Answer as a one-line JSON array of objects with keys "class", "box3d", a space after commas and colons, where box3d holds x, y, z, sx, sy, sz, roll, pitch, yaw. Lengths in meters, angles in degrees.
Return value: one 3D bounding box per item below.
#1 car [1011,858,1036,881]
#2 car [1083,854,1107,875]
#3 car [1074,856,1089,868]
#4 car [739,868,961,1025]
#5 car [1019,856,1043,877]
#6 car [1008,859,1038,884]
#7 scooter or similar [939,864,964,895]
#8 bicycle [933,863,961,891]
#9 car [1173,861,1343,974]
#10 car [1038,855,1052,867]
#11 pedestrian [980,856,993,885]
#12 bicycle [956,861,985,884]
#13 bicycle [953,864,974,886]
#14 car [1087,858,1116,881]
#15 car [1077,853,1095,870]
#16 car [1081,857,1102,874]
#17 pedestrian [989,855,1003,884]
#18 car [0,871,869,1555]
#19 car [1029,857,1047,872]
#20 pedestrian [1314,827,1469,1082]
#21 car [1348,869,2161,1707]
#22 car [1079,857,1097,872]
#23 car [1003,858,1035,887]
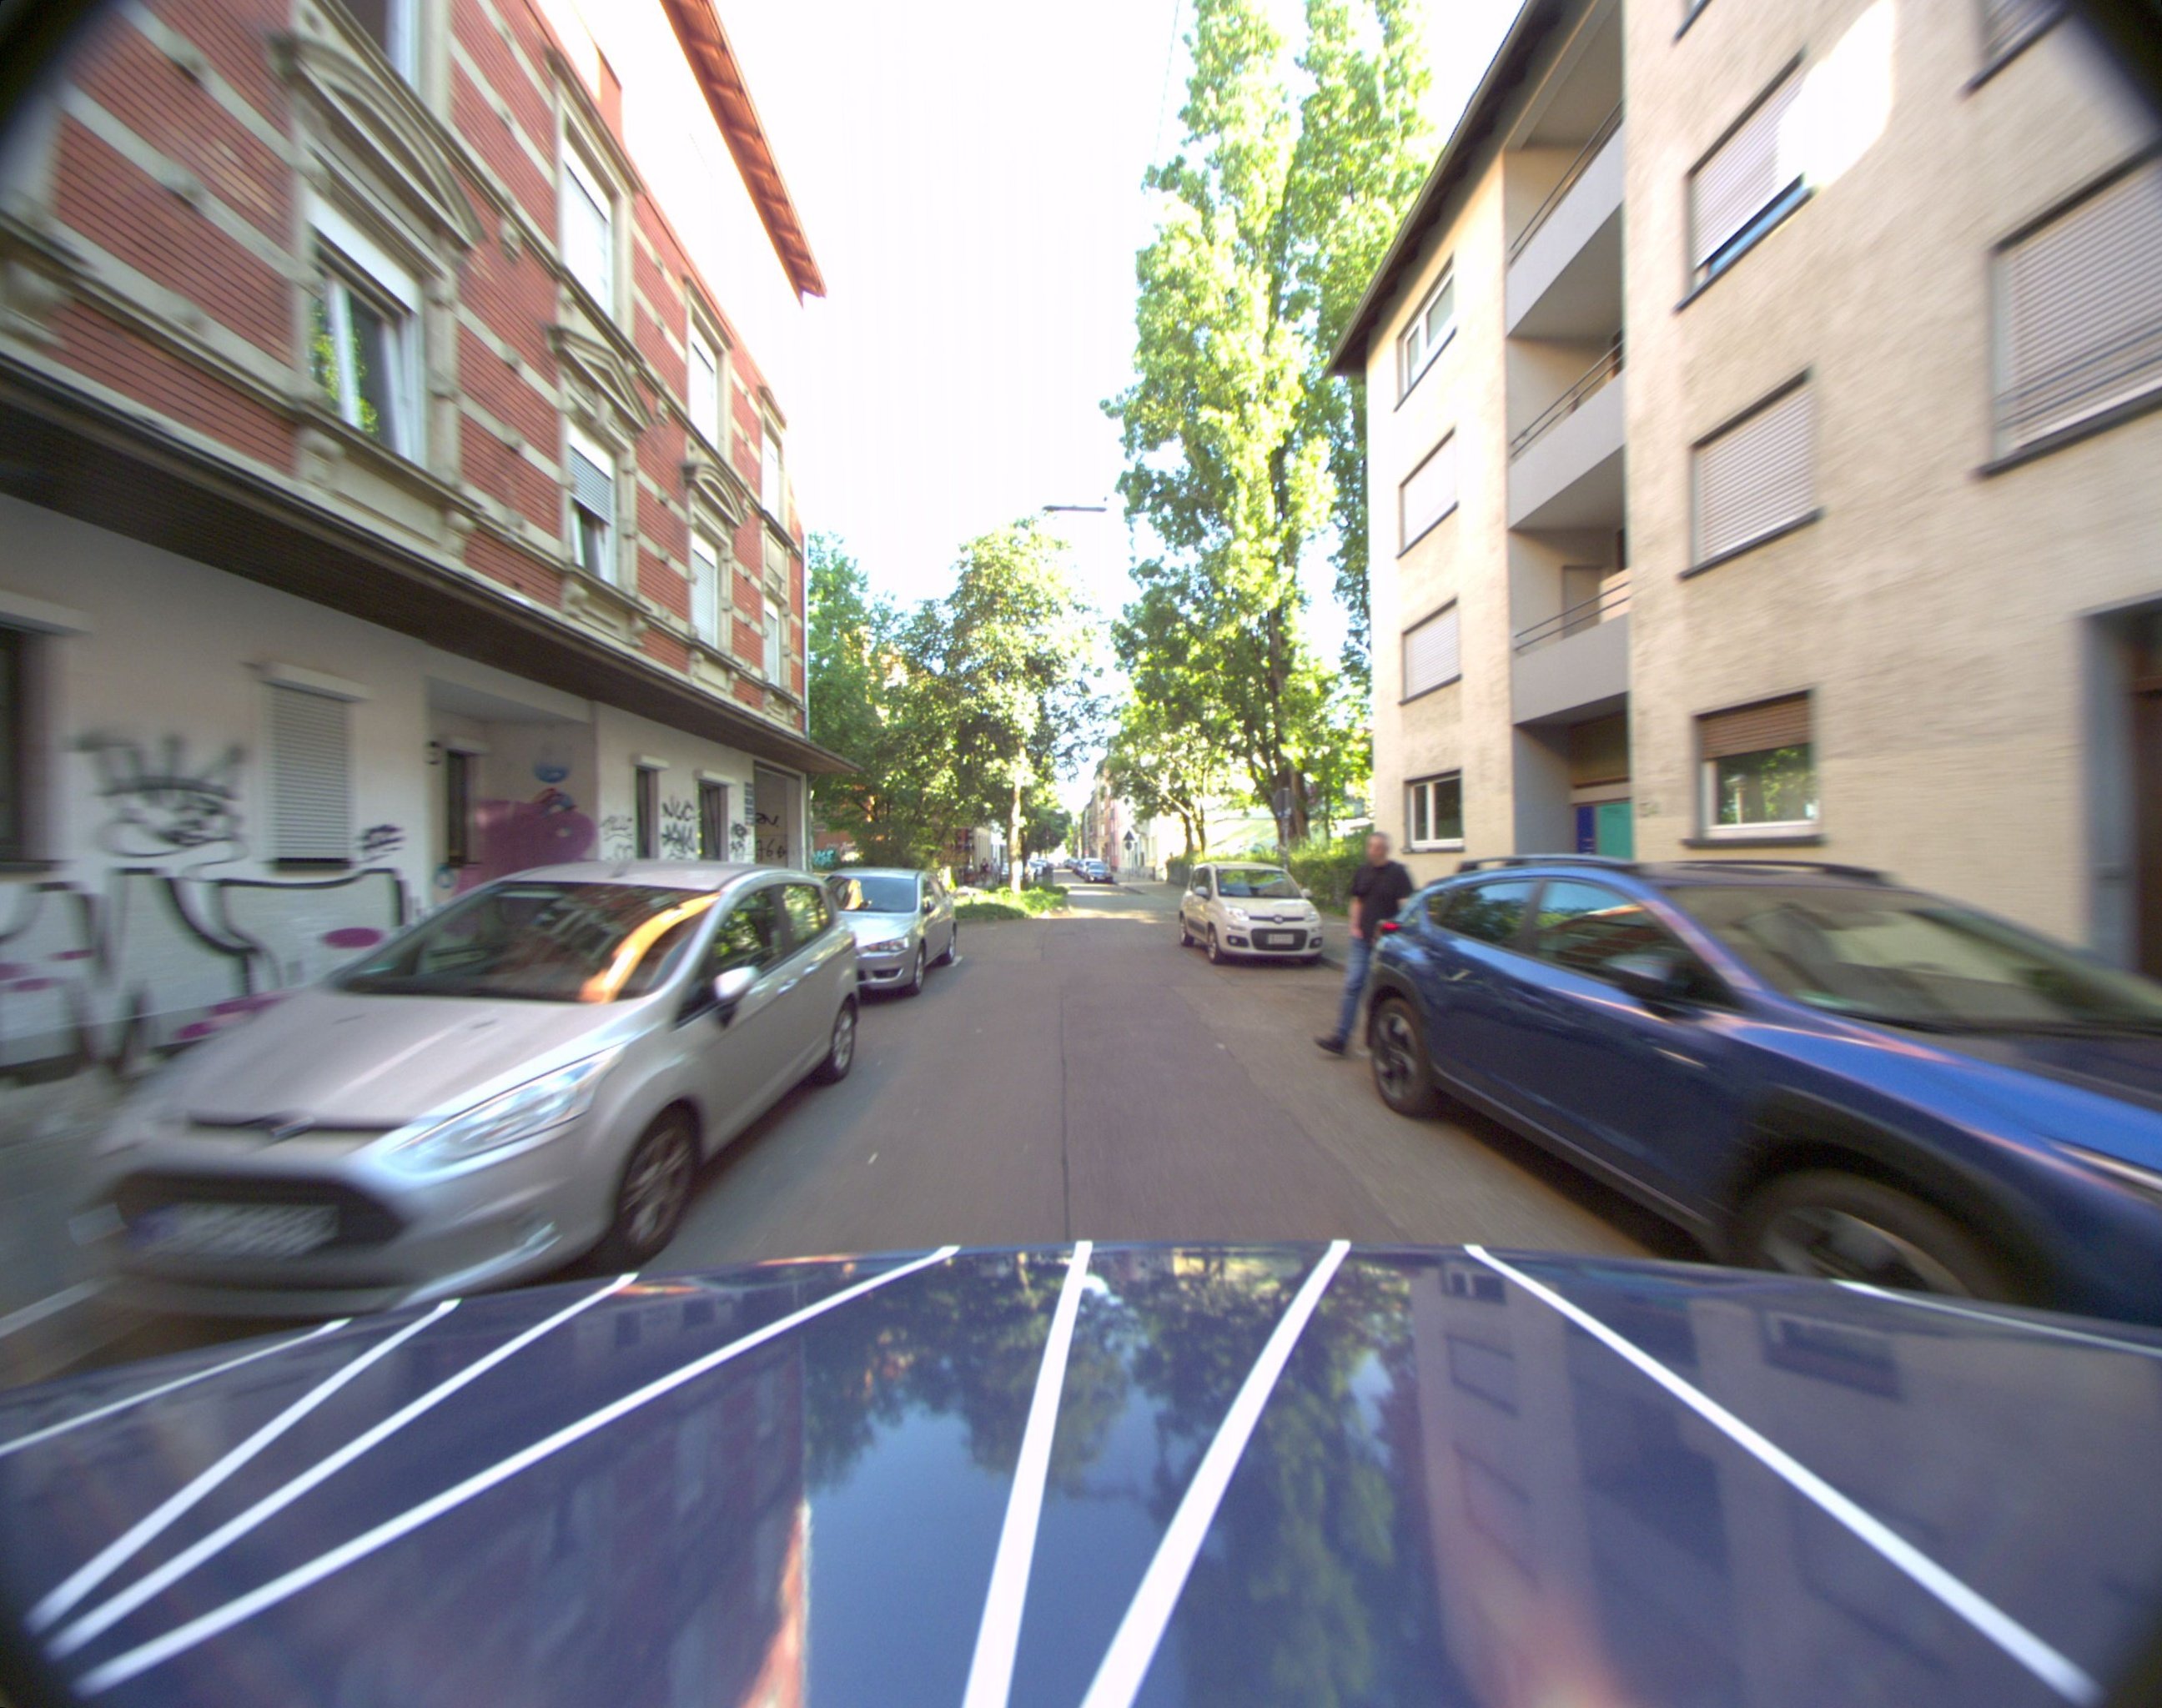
[{"class": "car", "box3d": [-4.081, 1.076, 54.690, 1.598, 1.576, 3.763, 0, 0, -2]}, {"class": "car", "box3d": [1.214, 0.890, 66.324, 1.754, 1.731, 4.313, 2, 0, -3]}, {"class": "car", "box3d": [0.063, 1.062, 100.676, 1.769, 1.524, 4.102, 2, 0, -2]}, {"class": "car", "box3d": [-2.764, 1.012, 10.168, 1.726, 1.553, 4.398, -1, 0, -2]}, {"class": "car", "box3d": [-4.161, 1.012, 63.836, 1.770, 1.657, 4.328, 0, 0, 0]}, {"class": "car", "box3d": [-3.713, 1.110, 49.391, 1.663, 1.485, 4.352, 1, 0, -1]}, {"class": "scooter or similar", "box3d": [-5.585, 1.086, 32.731, 0.547, 1.254, 1.469, 0, 0, -33]}, {"class": "bicycle", "box3d": [-6.460, 1.081, 36.780, 0.849, 1.260, 2.692, 0, 0, 0]}, {"class": "car", "box3d": [2.704, 0.896, 12.513, 1.680, 1.531, 3.867, 0, 0, -4]}, {"class": "car", "box3d": [-5.794, 1.104, 123.061, 1.866, 1.970, 4.481, 2, 0, 2]}, {"class": "pedestrian", "box3d": [-5.650, 0.956, 45.379, 0.599, 1.699, 0.706, 2, 0, -2]}, {"class": "bicycle", "box3d": [-6.497, 1.082, 44.920, 1.294, 1.294, 2.327, 1, 0, 1]}, {"class": "bicycle", "box3d": [-6.520, 1.171, 42.276, 0.849, 1.193, 1.982, 0, 0, 0]}, {"class": "car", "box3d": [1.386, 1.074, 52.879, 1.784, 1.435, 4.391, 2, 0, -2]}, {"class": "car", "box3d": [0.521, 0.783, 85.705, 1.769, 1.814, 4.102, 2, 0, -2]}, {"class": "car", "box3d": [1.013, 1.040, 71.257, 1.674, 1.519, 4.086, 2, 0, 4]}, {"class": "pedestrian", "box3d": [-5.149, 0.938, 45.846, 0.712, 1.699, 0.752, 2, 0, -2]}, {"class": "car", "box3d": [-2.447, 0.975, 3.894, 1.644, 1.646, 3.868, -1, 0, -1]}, {"class": "car", "box3d": [-4.586, 1.082, 81.765, 1.769, 1.508, 4.102, 2, 0, -2]}, {"class": "pedestrian", "box3d": [2.407, 0.722, 5.927, 0.911, 1.829, 0.671, 0, 1, -24]}, {"class": "car", "box3d": [2.825, 0.880, 3.012, 1.734, 1.531, 4.376, 0, 0, -4]}, {"class": "car", "box3d": [0.710, 1.067, 80.362, 1.769, 1.463, 3.815, 2, 0, -2]}, {"class": "car", "box3d": [-3.593, 1.038, 44.463, 1.726, 1.485, 4.412, 2, 0, -4]}]
